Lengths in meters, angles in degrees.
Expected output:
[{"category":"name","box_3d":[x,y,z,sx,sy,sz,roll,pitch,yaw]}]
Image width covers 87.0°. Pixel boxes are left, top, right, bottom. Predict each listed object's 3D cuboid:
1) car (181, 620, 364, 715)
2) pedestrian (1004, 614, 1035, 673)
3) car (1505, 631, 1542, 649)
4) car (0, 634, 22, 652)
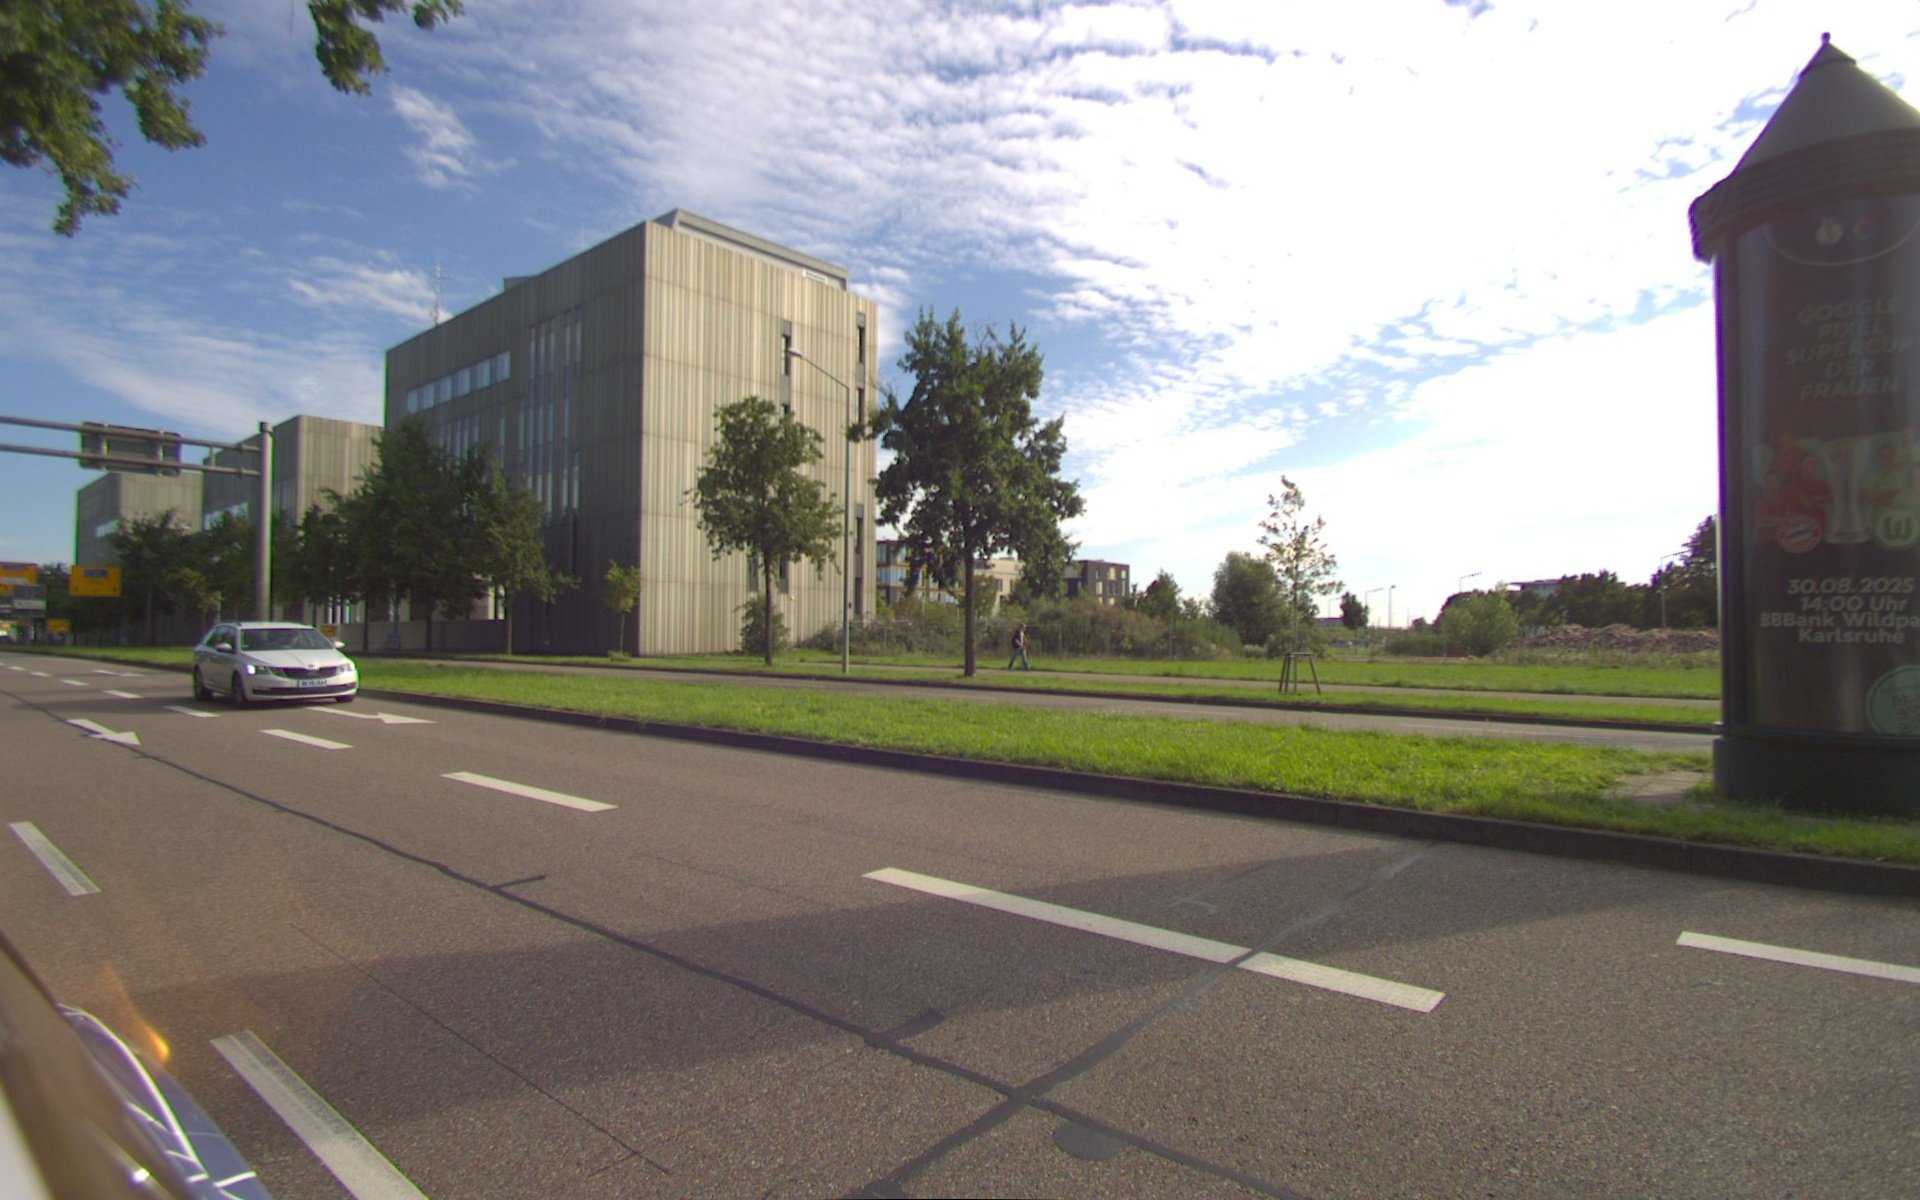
[{"category":"car","box_3d":[-12.592,1.137,18.417,4.479,1.510,1.681,-1,-1,41]},{"category":"pedestrian","box_3d":[2.090,1.526,35.671,0.867,2.029,0.667,-2,-3,41]},{"category":"car","box_3d":[64.525,4.588,115.951,1.973,2.029,3.997,0,-2,2]},{"category":"car","box_3d":[-106.352,4.779,112.989,3.998,2.029,1.973,-2,-3,41]}]
